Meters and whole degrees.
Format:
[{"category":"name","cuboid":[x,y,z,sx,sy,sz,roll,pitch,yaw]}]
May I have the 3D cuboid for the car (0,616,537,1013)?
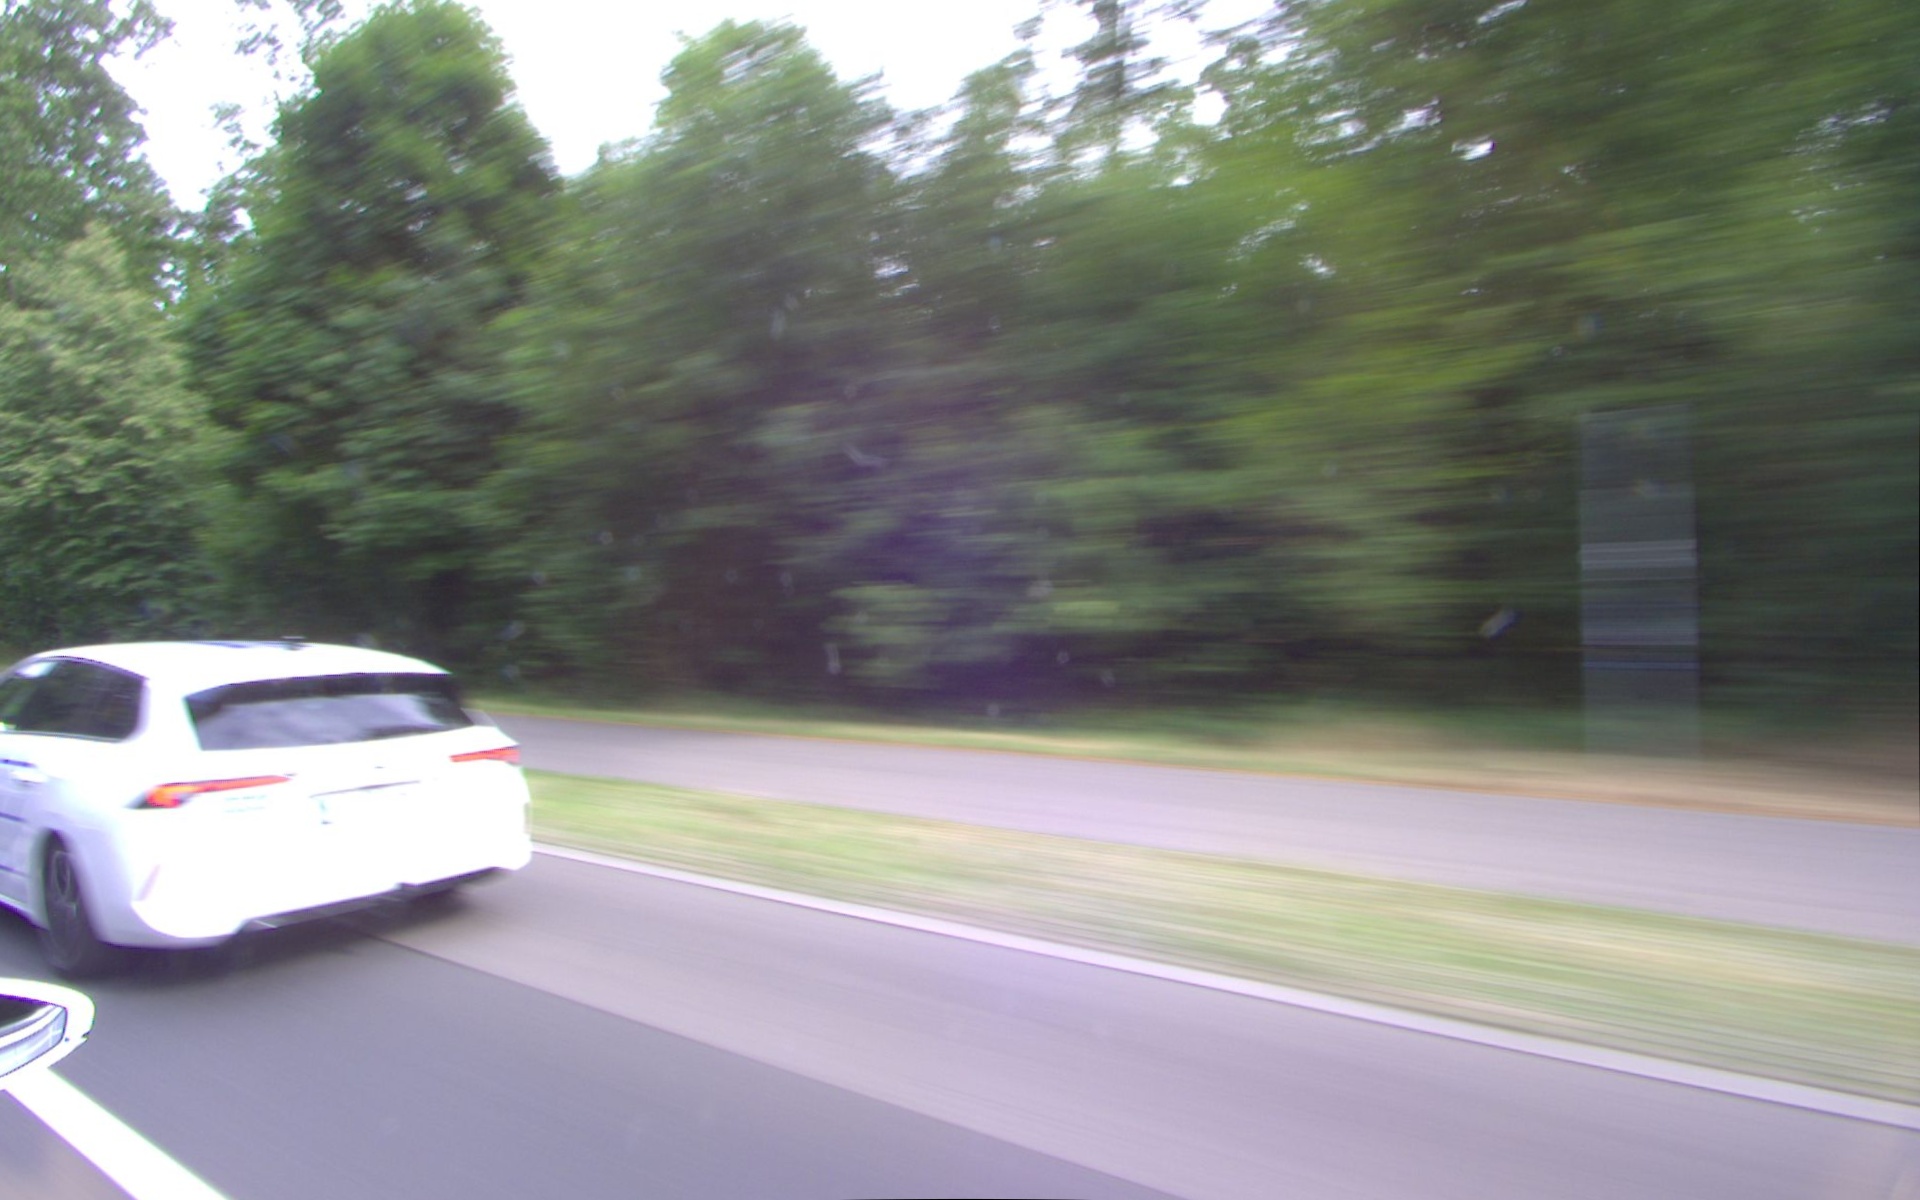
[{"category":"car","cuboid":[-4.523,0.820,5.681,4.429,1.428,1.832,0,-1,34]}]
